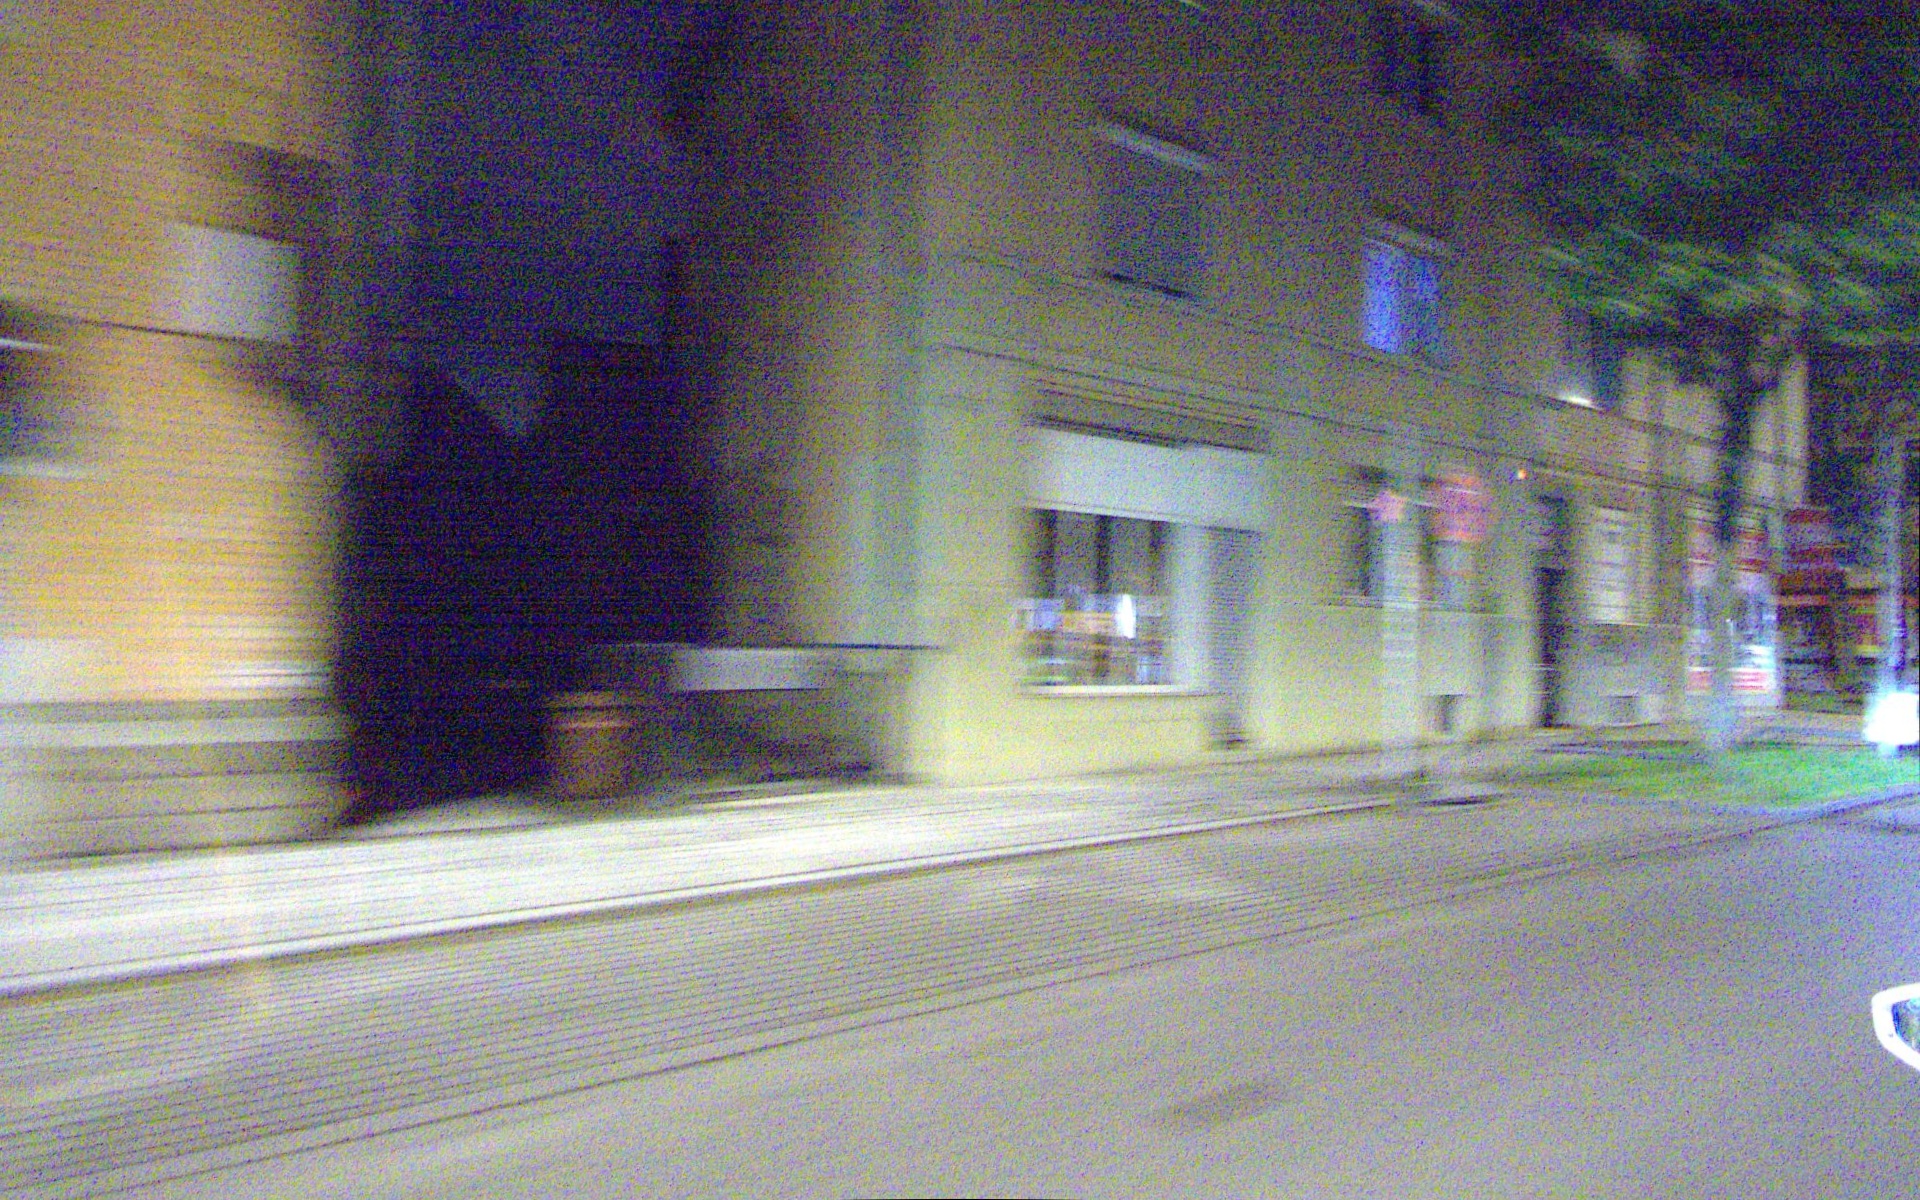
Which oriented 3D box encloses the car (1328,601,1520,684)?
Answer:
[{"bbox_3d":[15.949,1.433,34.909,2.222,2.577,5.816,4,-3,-31],"label":"car"}]
